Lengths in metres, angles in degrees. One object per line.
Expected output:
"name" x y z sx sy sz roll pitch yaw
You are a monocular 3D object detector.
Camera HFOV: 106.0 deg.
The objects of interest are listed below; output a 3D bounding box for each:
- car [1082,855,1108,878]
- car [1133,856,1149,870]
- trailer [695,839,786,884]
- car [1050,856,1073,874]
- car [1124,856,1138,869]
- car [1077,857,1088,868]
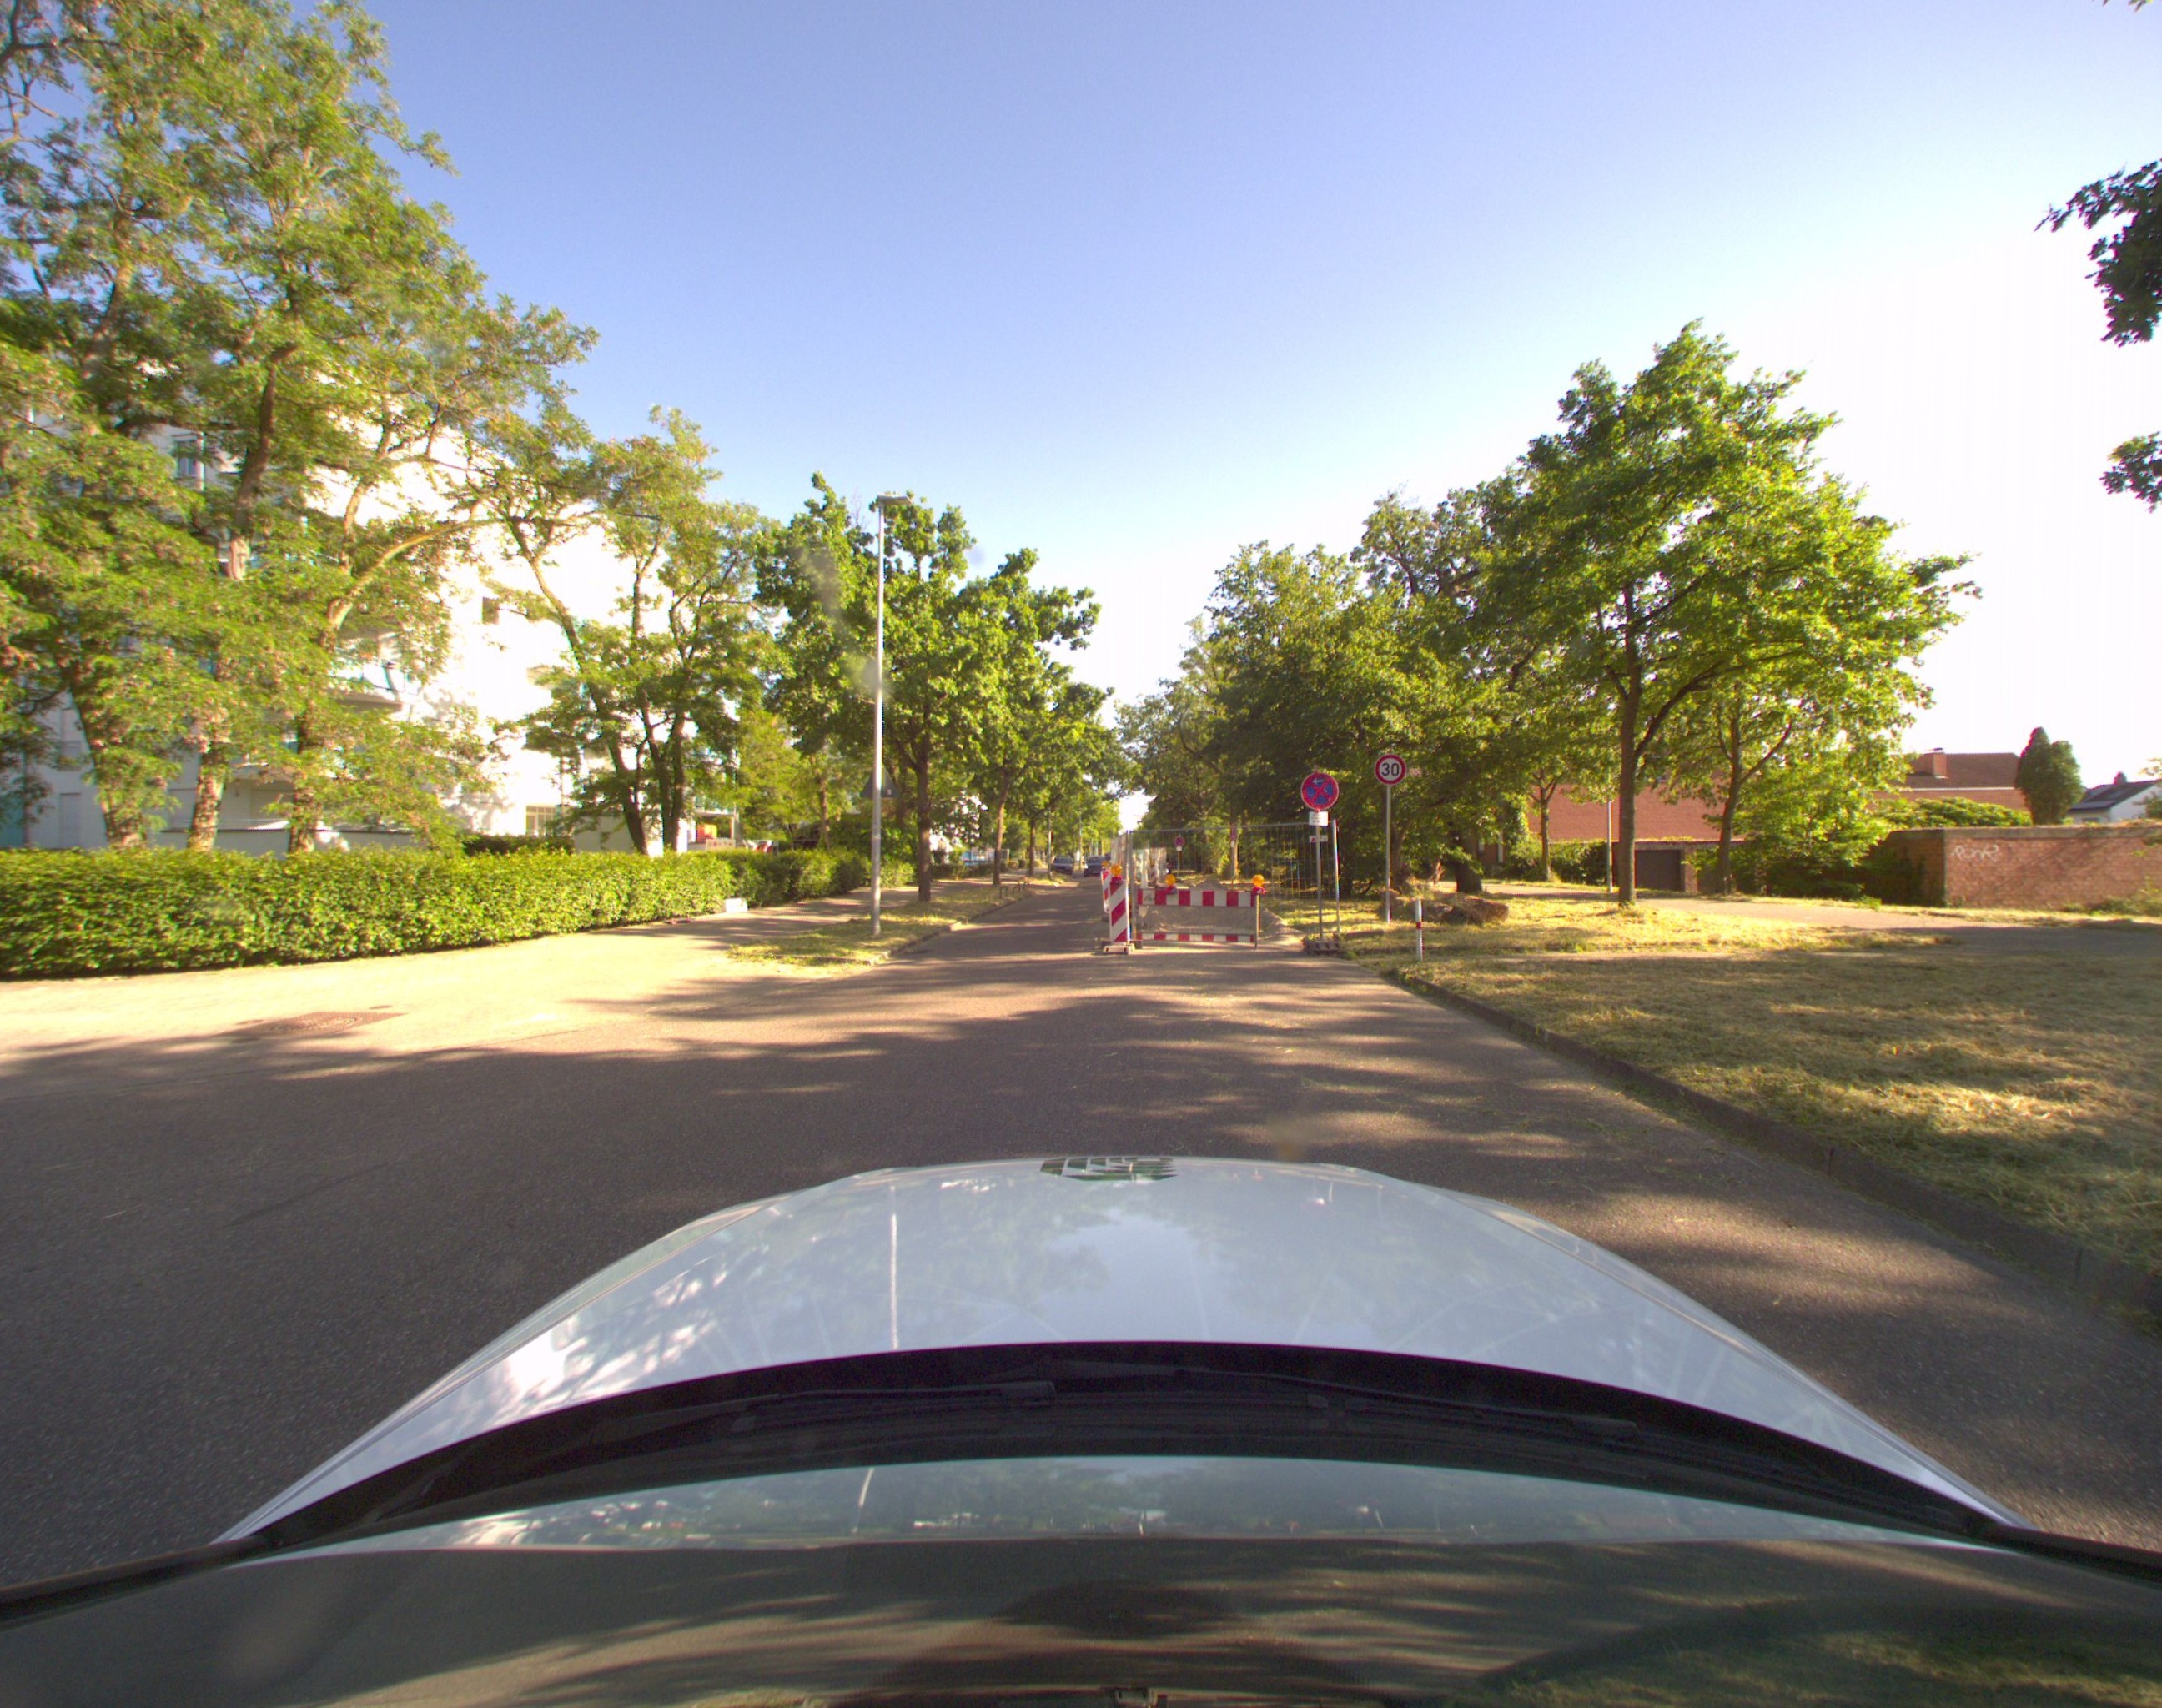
"car" 1.102 0.918 63.073 1.814 1.625 4.496 -2 0 3
"car" 5.705 0.903 77.641 1.356 1.302 3.481 1 -1 1
"trailer" -16.370 0.335 39.417 1.964 2.042 4.442 0 0 10
"car" -1.606 0.902 68.071 1.744 1.478 3.838 0 0 2
"car" 5.534 0.960 90.635 1.356 1.302 3.481 1 -1 1
"car" 0.249 1.080 103.419 1.356 1.302 3.481 1 -1 1
